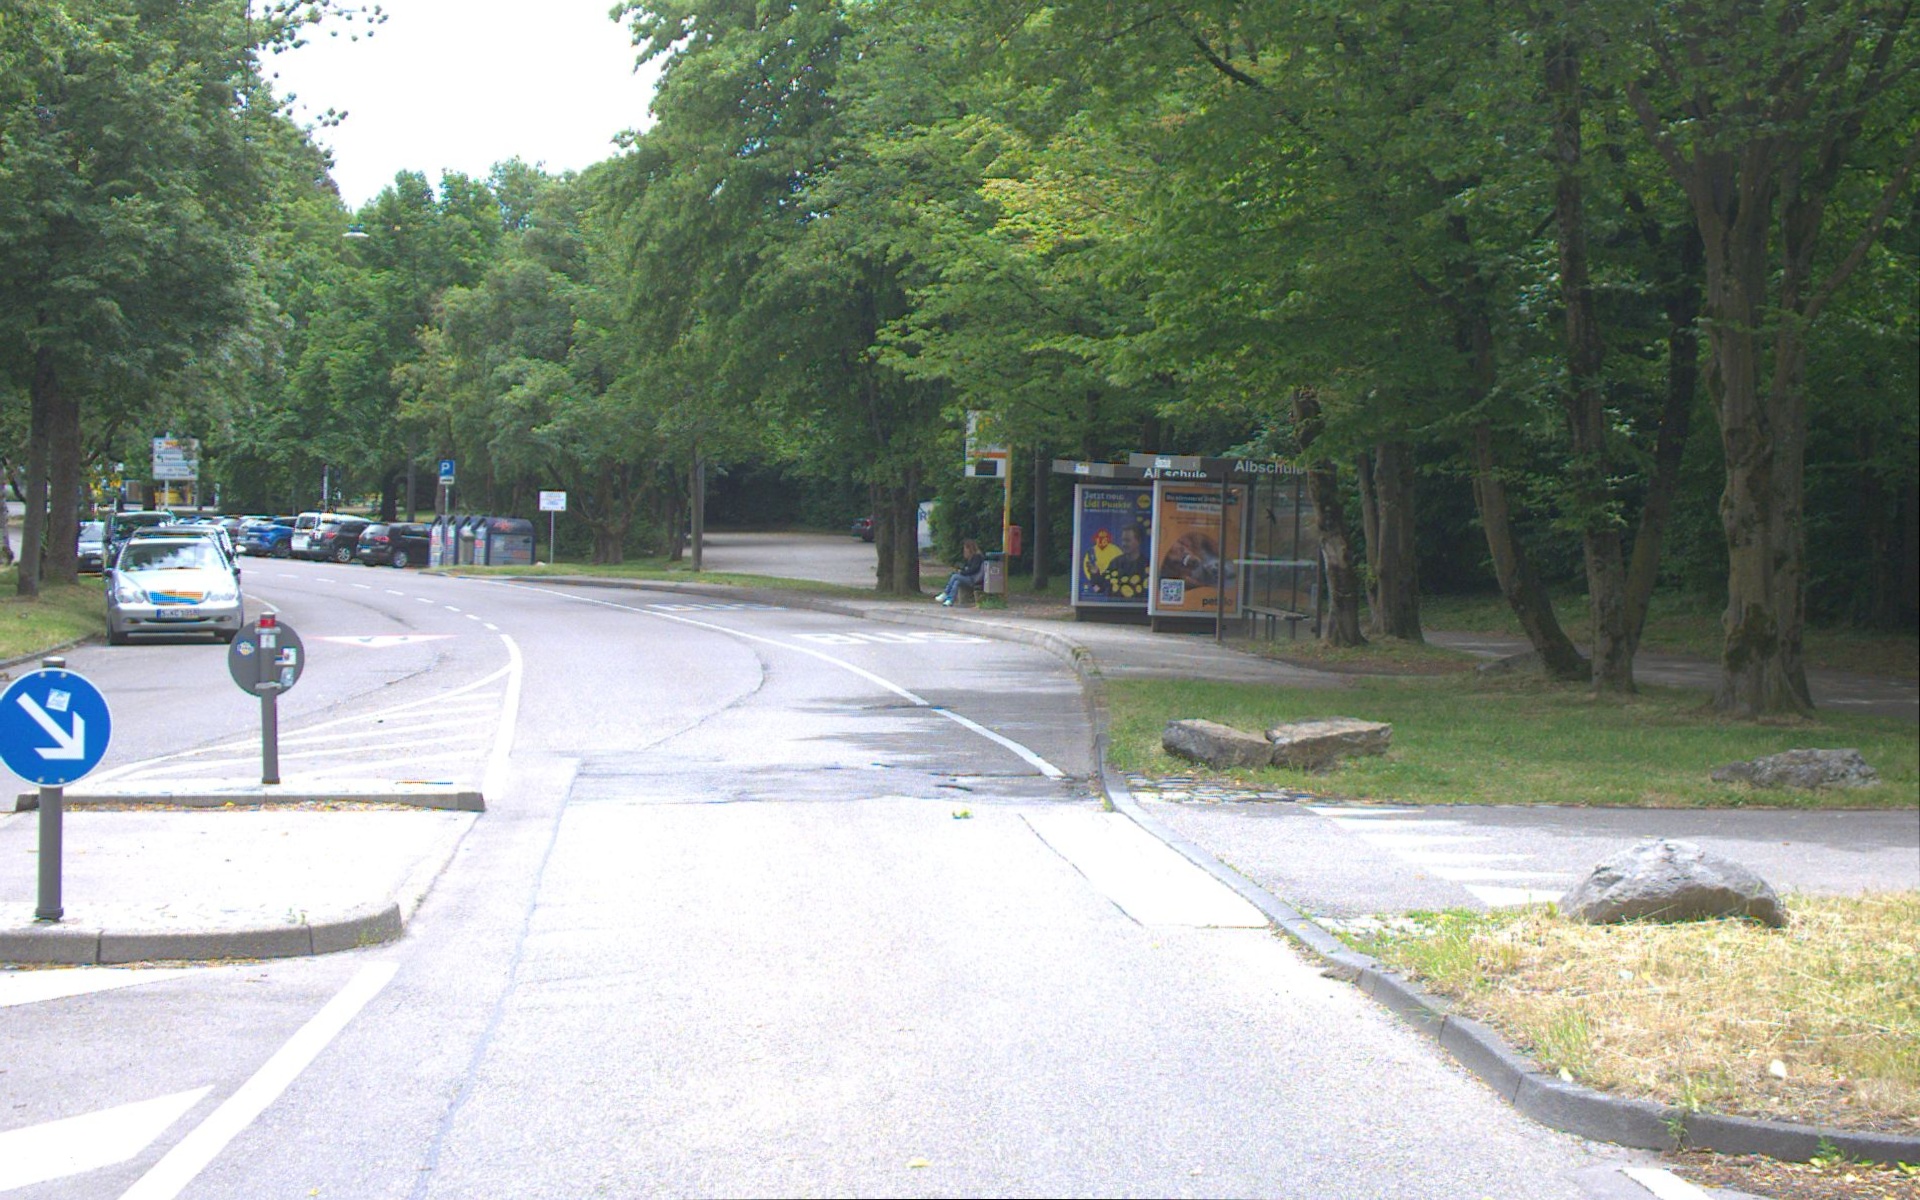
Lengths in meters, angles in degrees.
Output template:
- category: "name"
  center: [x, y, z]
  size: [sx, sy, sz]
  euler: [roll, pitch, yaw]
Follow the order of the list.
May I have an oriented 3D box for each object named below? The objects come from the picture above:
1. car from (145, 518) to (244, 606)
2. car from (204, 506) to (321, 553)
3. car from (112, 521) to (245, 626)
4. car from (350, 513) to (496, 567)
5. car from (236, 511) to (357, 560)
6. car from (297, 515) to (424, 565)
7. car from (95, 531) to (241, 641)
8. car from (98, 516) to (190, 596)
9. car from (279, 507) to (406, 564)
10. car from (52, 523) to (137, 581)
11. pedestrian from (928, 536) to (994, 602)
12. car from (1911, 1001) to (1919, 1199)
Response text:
- category: "car"
  center: [-14.286, -0.735, 64.185]
  size: [1.735, 1.573, 4.143]
  euler: [-1, 1, -12]
- category: "car"
  center: [-25.794, -2.615, 127.220]
  size: [3.820, 1.523, 1.745]
  euler: [3, -1, -42]
- category: "car"
  center: [-11.958, -0.435, 52.775]
  size: [1.735, 1.533, 4.191]
  euler: [-1, 1, -9]
- category: "car"
  center: [-16.943, -1.877, 108.580]
  size: [3.988, 1.409, 2.057]
  euler: [3, 1, -42]
- category: "car"
  center: [-23.650, -2.300, 122.658]
  size: [3.820, 1.523, 1.745]
  euler: [3, -1, -42]
- category: "car"
  center: [-20.251, -2.021, 116.134]
  size: [3.820, 1.463, 1.746]
  euler: [3, 0, -42]
- category: "car"
  center: [-10.823, -0.229, 46.792]
  size: [1.735, 1.411, 4.474]
  euler: [-1, 1, -15]
- category: "car"
  center: [-20.196, -1.105, 84.941]
  size: [1.857, 1.902, 5.085]
  euler: [0, 1, -17]
- category: "car"
  center: [-21.285, -2.220, 118.576]
  size: [3.820, 1.714, 1.877]
  euler: [3, -1, -42]
- category: "car"
  center: [-25.320, -1.418, 100.501]
  size: [1.804, 1.557, 4.268]
  euler: [-3, 2, -22]
- category: "pedestrian"
  center: [0.018, -0.552, 61.677]
  size: [1.063, 1.178, 0.580]
  euler: [0, 1, -15]
- category: "car"
  center: [4.457, 0.709, 6.931]
  size: [4.467, 1.580, 1.907]
  euler: [2, 0, -12]
